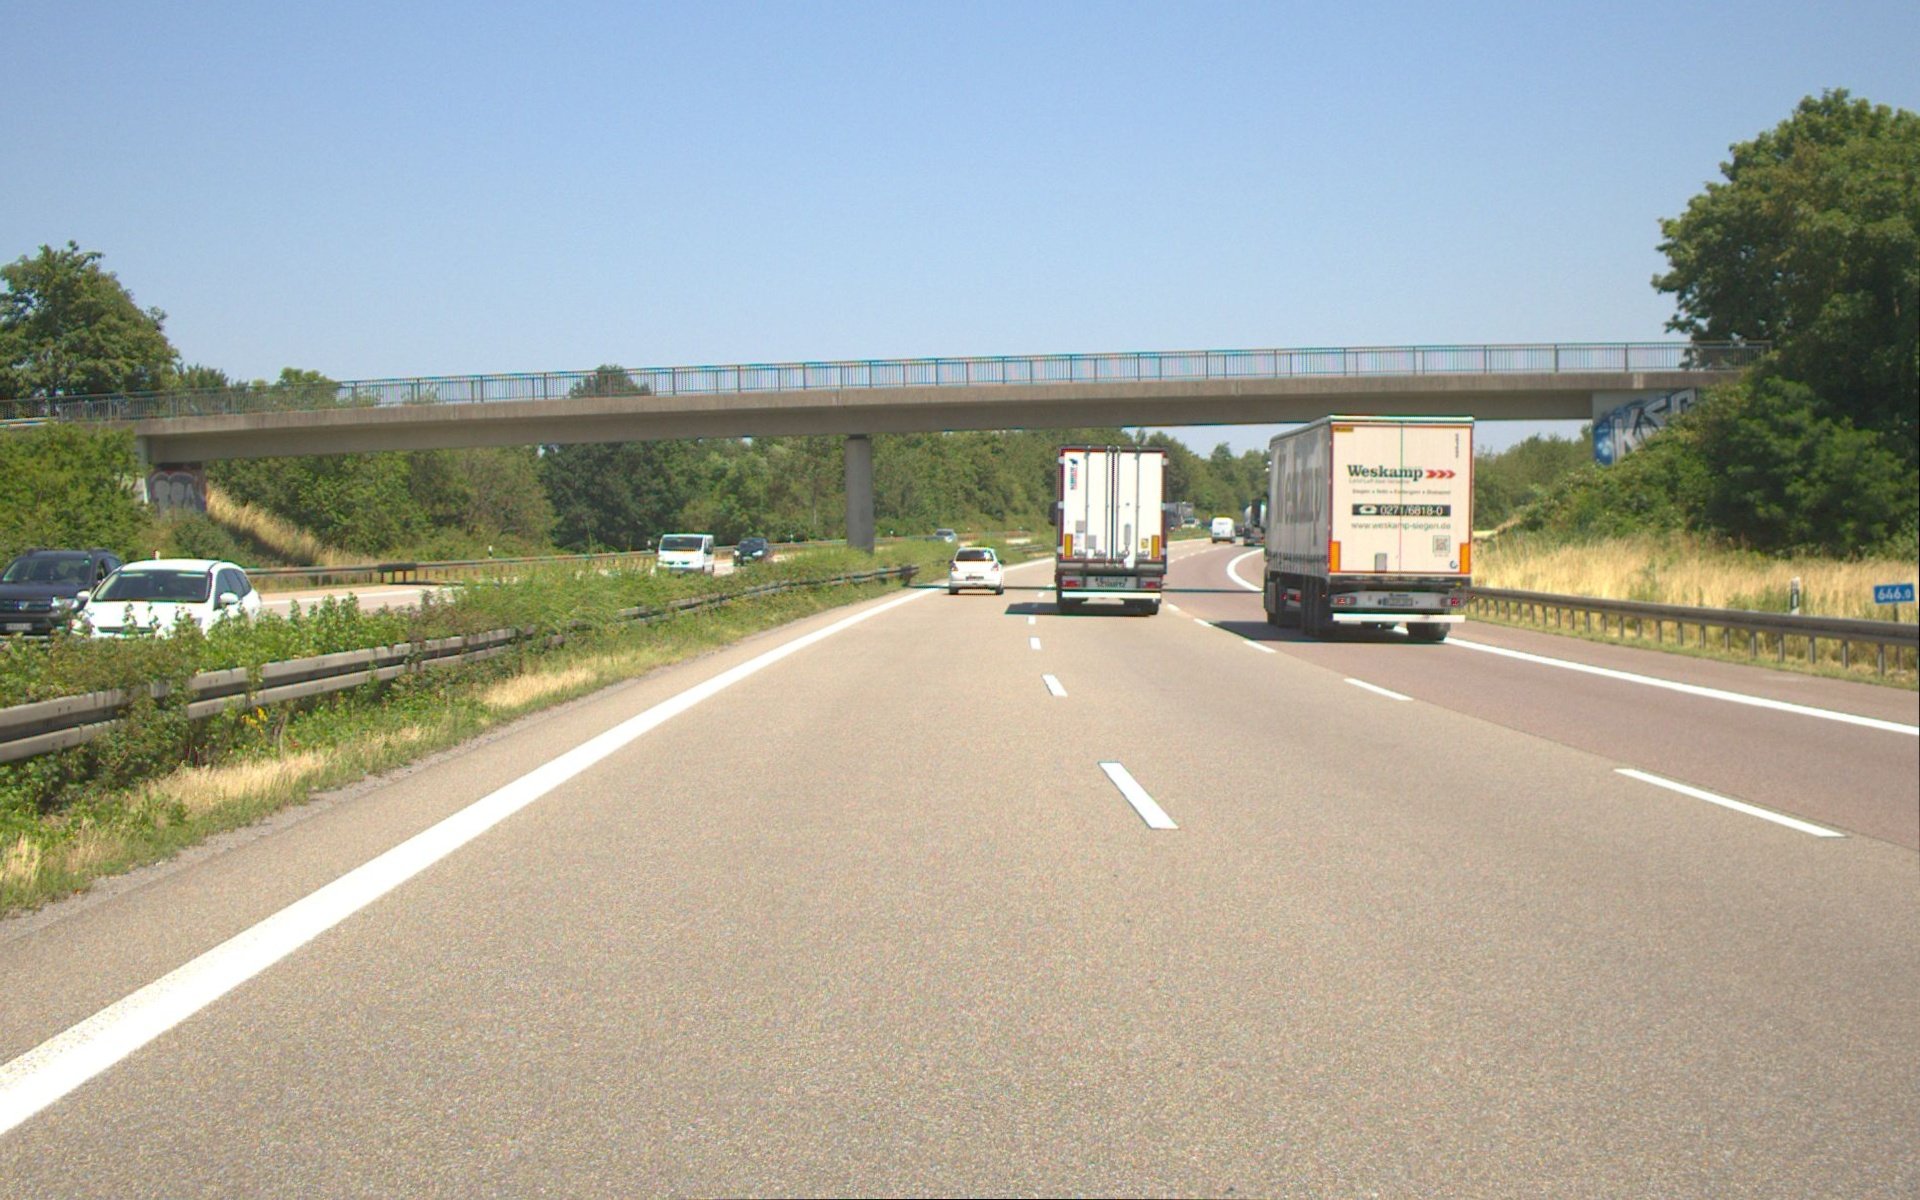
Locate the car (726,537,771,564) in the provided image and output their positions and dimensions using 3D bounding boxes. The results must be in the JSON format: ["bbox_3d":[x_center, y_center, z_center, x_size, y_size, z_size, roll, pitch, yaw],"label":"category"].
[{"bbox_3d":[-11.723,-2.756,190.707,1.828,1.456,4.318,1,1,5],"label":"car"}]

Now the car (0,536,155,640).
[{"bbox_3d":[-13.780,-0.191,53.248,1.645,1.555,4.066,0,0,0],"label":"car"}]

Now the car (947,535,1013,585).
[{"bbox_3d":[0.660,-1.301,111.310,1.828,1.542,4.318,1,1,4],"label":"car"}]

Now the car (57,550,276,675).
[{"bbox_3d":[-9.920,0.130,43.314,1.684,1.484,4.729,0,0,0],"label":"car"}]

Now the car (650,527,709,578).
[{"bbox_3d":[-11.424,-1.956,140.132,1.828,2.007,5.330,1,1,1],"label":"car"}]

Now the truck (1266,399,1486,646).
[{"bbox_3d":[7.987,-1.566,68.105,3.181,4.289,16.017,1,2,3],"label":"truck"}]

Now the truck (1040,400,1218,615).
[{"bbox_3d":[4.133,-2.382,88.486,3.666,5.001,16.019,0,2,0],"label":"truck"}]
